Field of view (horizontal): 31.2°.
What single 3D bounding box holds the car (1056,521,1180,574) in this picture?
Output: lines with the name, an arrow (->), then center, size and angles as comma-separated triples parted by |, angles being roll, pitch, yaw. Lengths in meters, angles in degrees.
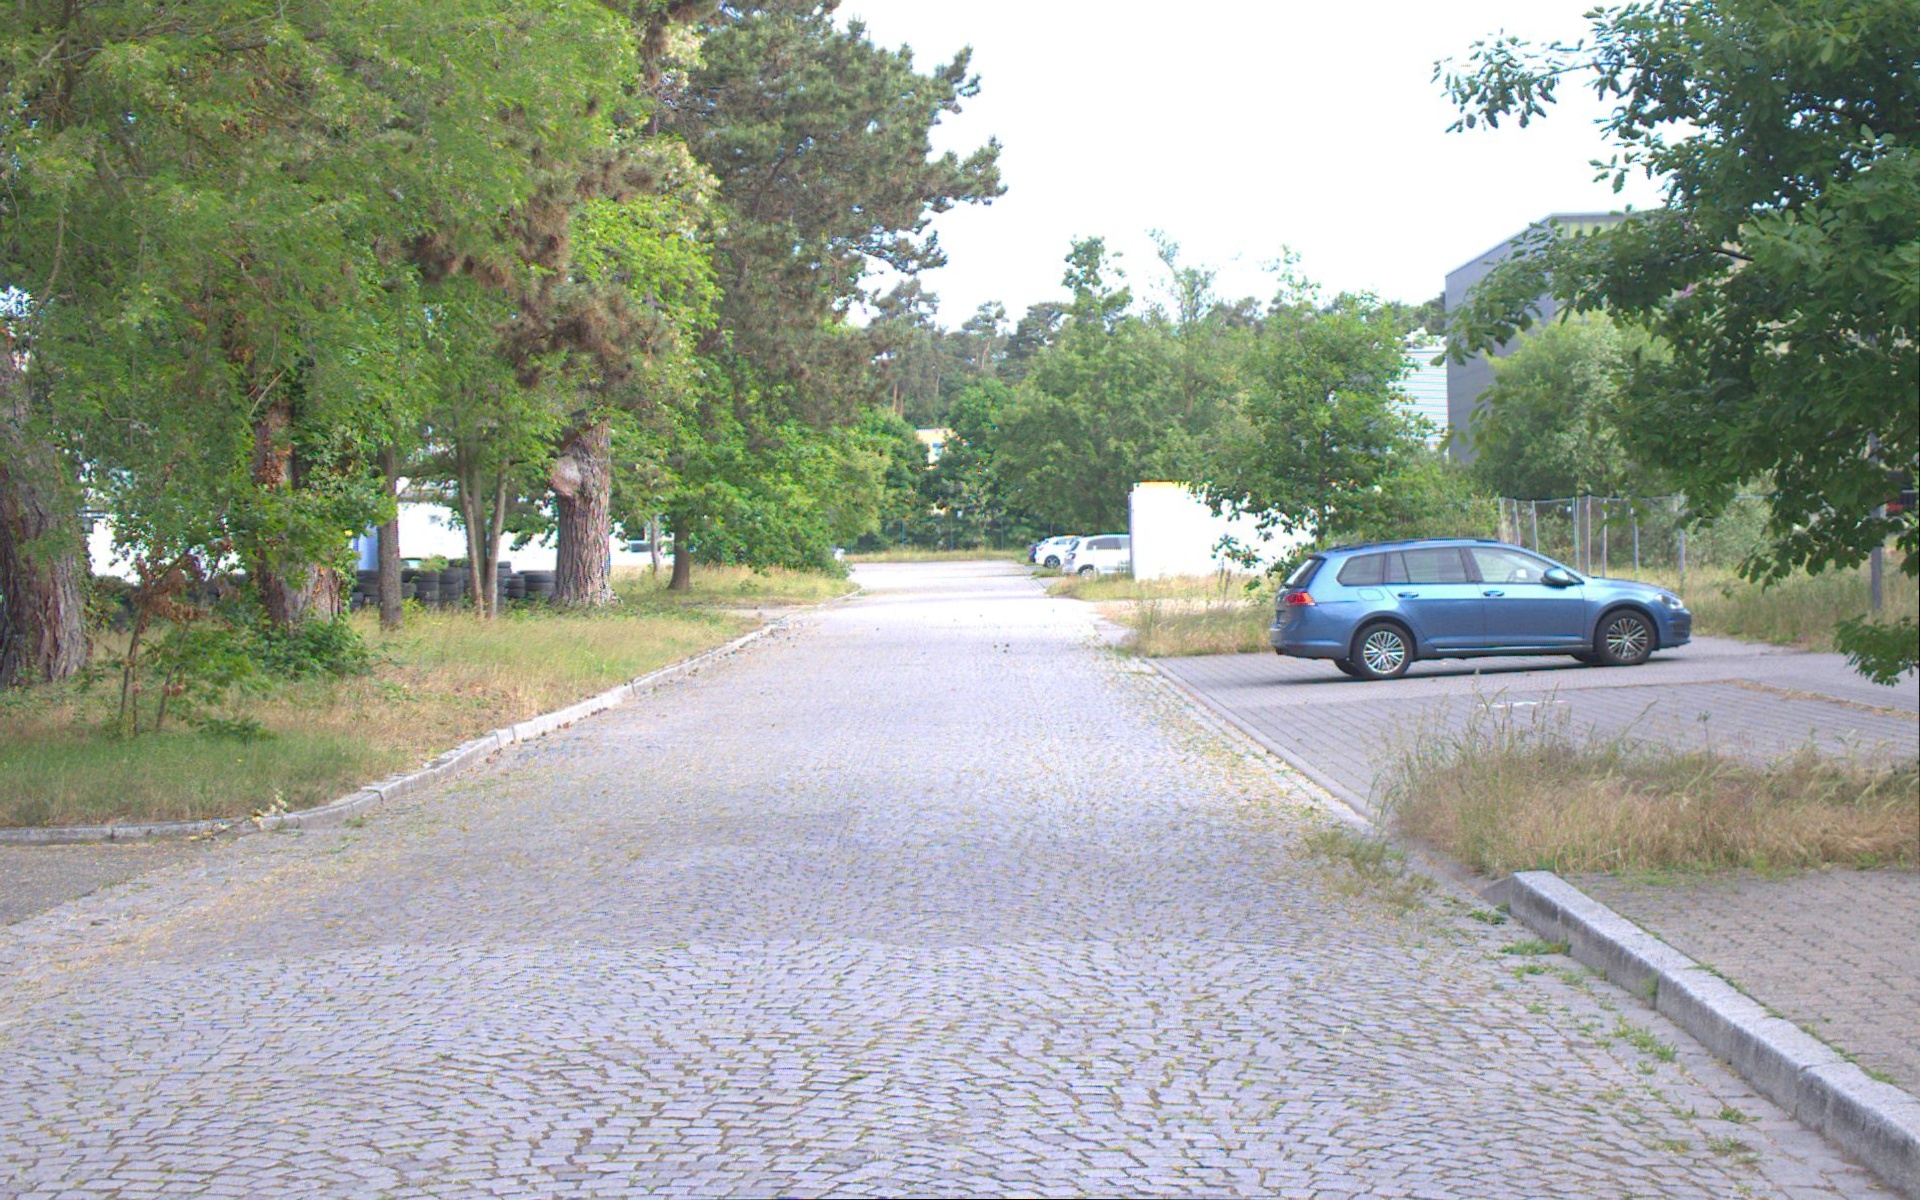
car -> 5.083, -1.700, 111.160 | 3.849, 1.649, 1.686 | -1, 1, -2

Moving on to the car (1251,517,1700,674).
car -> 5.585, -0.067, 37.617 | 4.521, 1.438, 1.824 | -3, 1, -3

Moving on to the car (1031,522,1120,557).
car -> 5.260, -2.779, 157.303 | 4.025, 1.496, 1.548 | -1, 1, 1

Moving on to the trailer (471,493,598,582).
trailer -> -15.276, -2.274, 123.974 | 3.159, 3.057, 8.784 | -1, 1, 2
